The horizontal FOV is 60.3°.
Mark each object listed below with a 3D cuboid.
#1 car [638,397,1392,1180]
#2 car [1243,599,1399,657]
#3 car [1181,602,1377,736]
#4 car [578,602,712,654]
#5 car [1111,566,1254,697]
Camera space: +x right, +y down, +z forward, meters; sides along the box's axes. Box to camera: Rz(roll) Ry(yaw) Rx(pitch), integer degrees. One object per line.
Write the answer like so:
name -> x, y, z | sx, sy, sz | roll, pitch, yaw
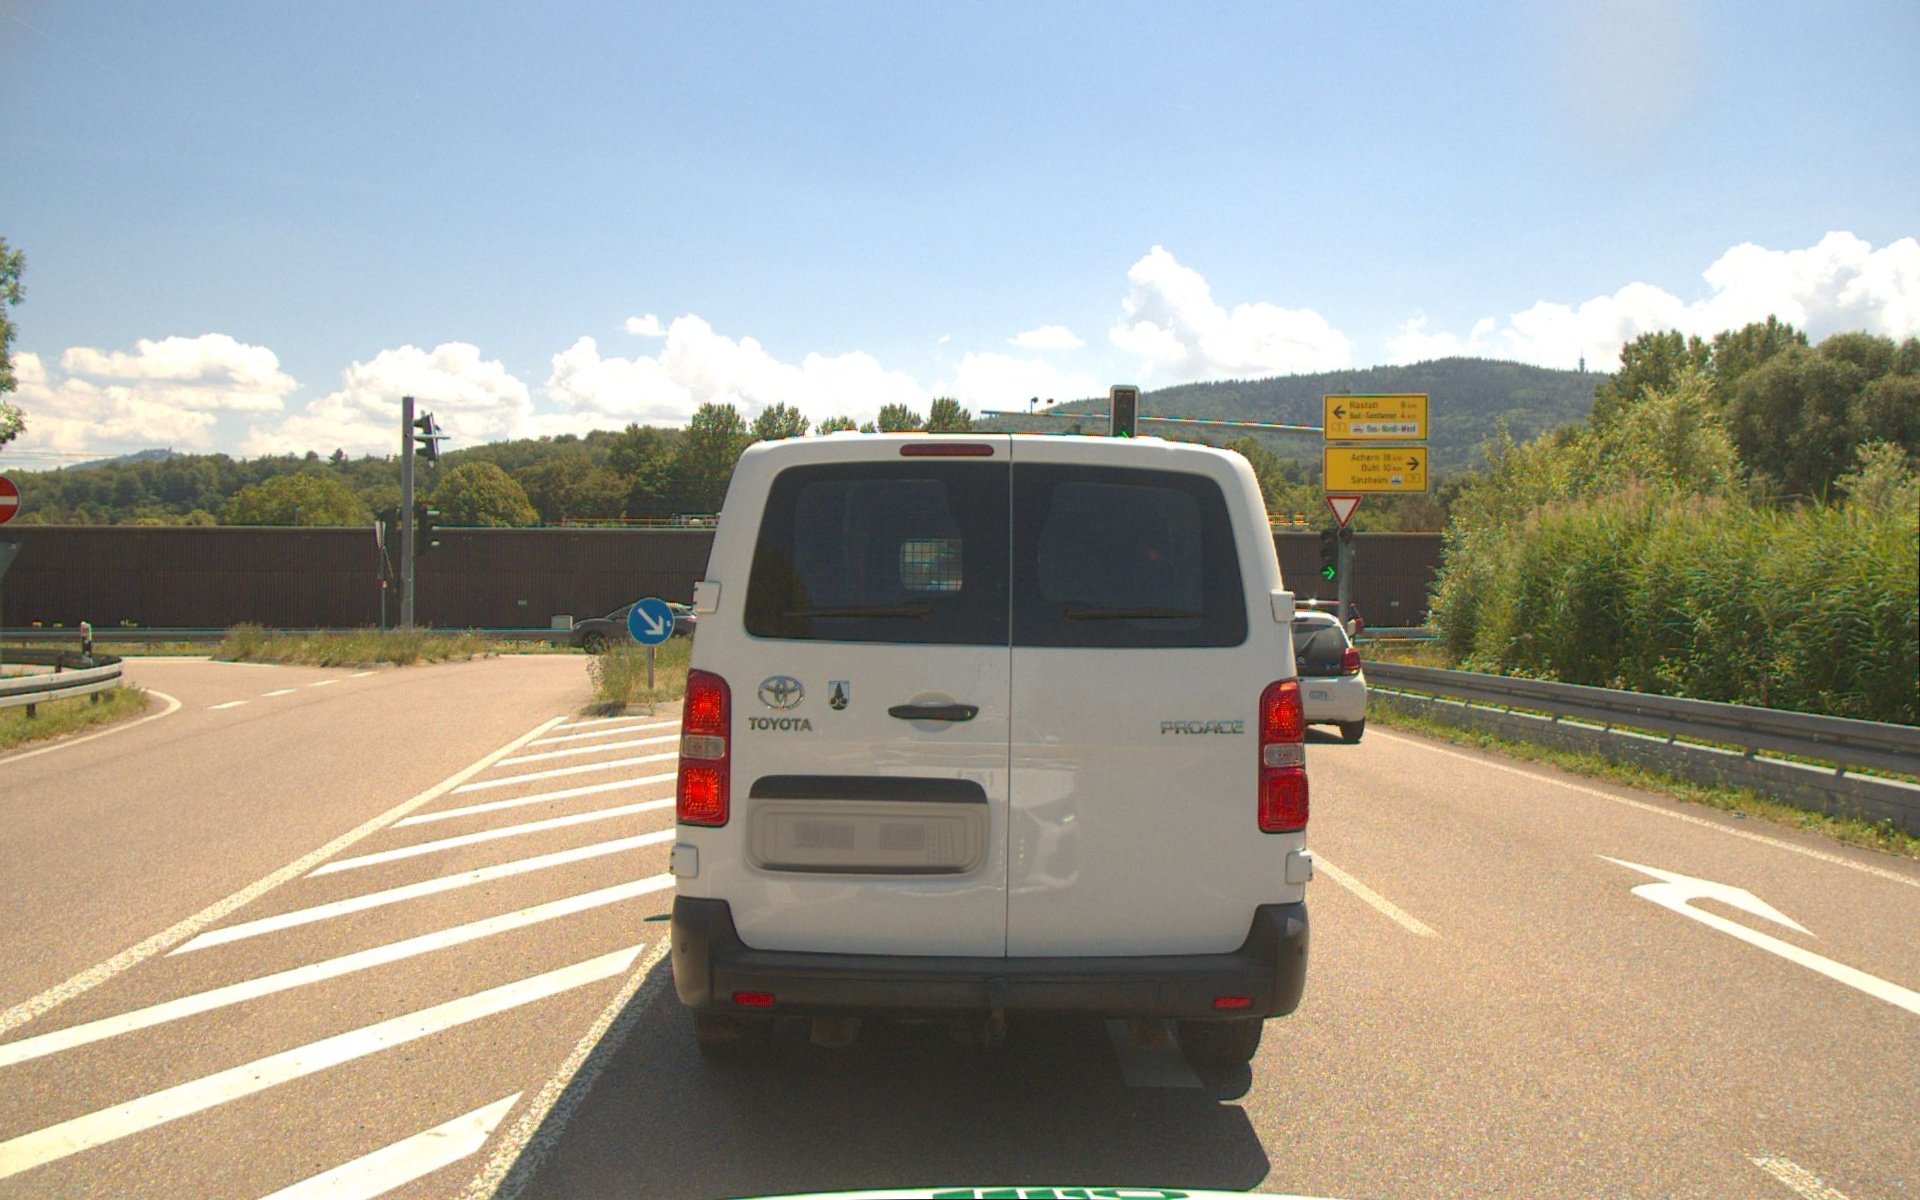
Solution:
car -> 0.099, 0.481, 6.105 | 1.848, 1.919, 3.999 | 1, 0, -1
car -> 10.853, 0.841, 49.931 | 4.225, 1.685, 1.998 | 0, 0, -4
car -> 3.749, 0.769, 19.943 | 1.622, 1.456, 3.364 | 1, 0, -2
car -> -9.970, 0.873, 52.628 | 3.907, 1.583, 1.999 | 1, 0, -3
car -> 3.709, 0.504, 28.380 | 1.889, 2.035, 4.838 | 1, 0, 1
